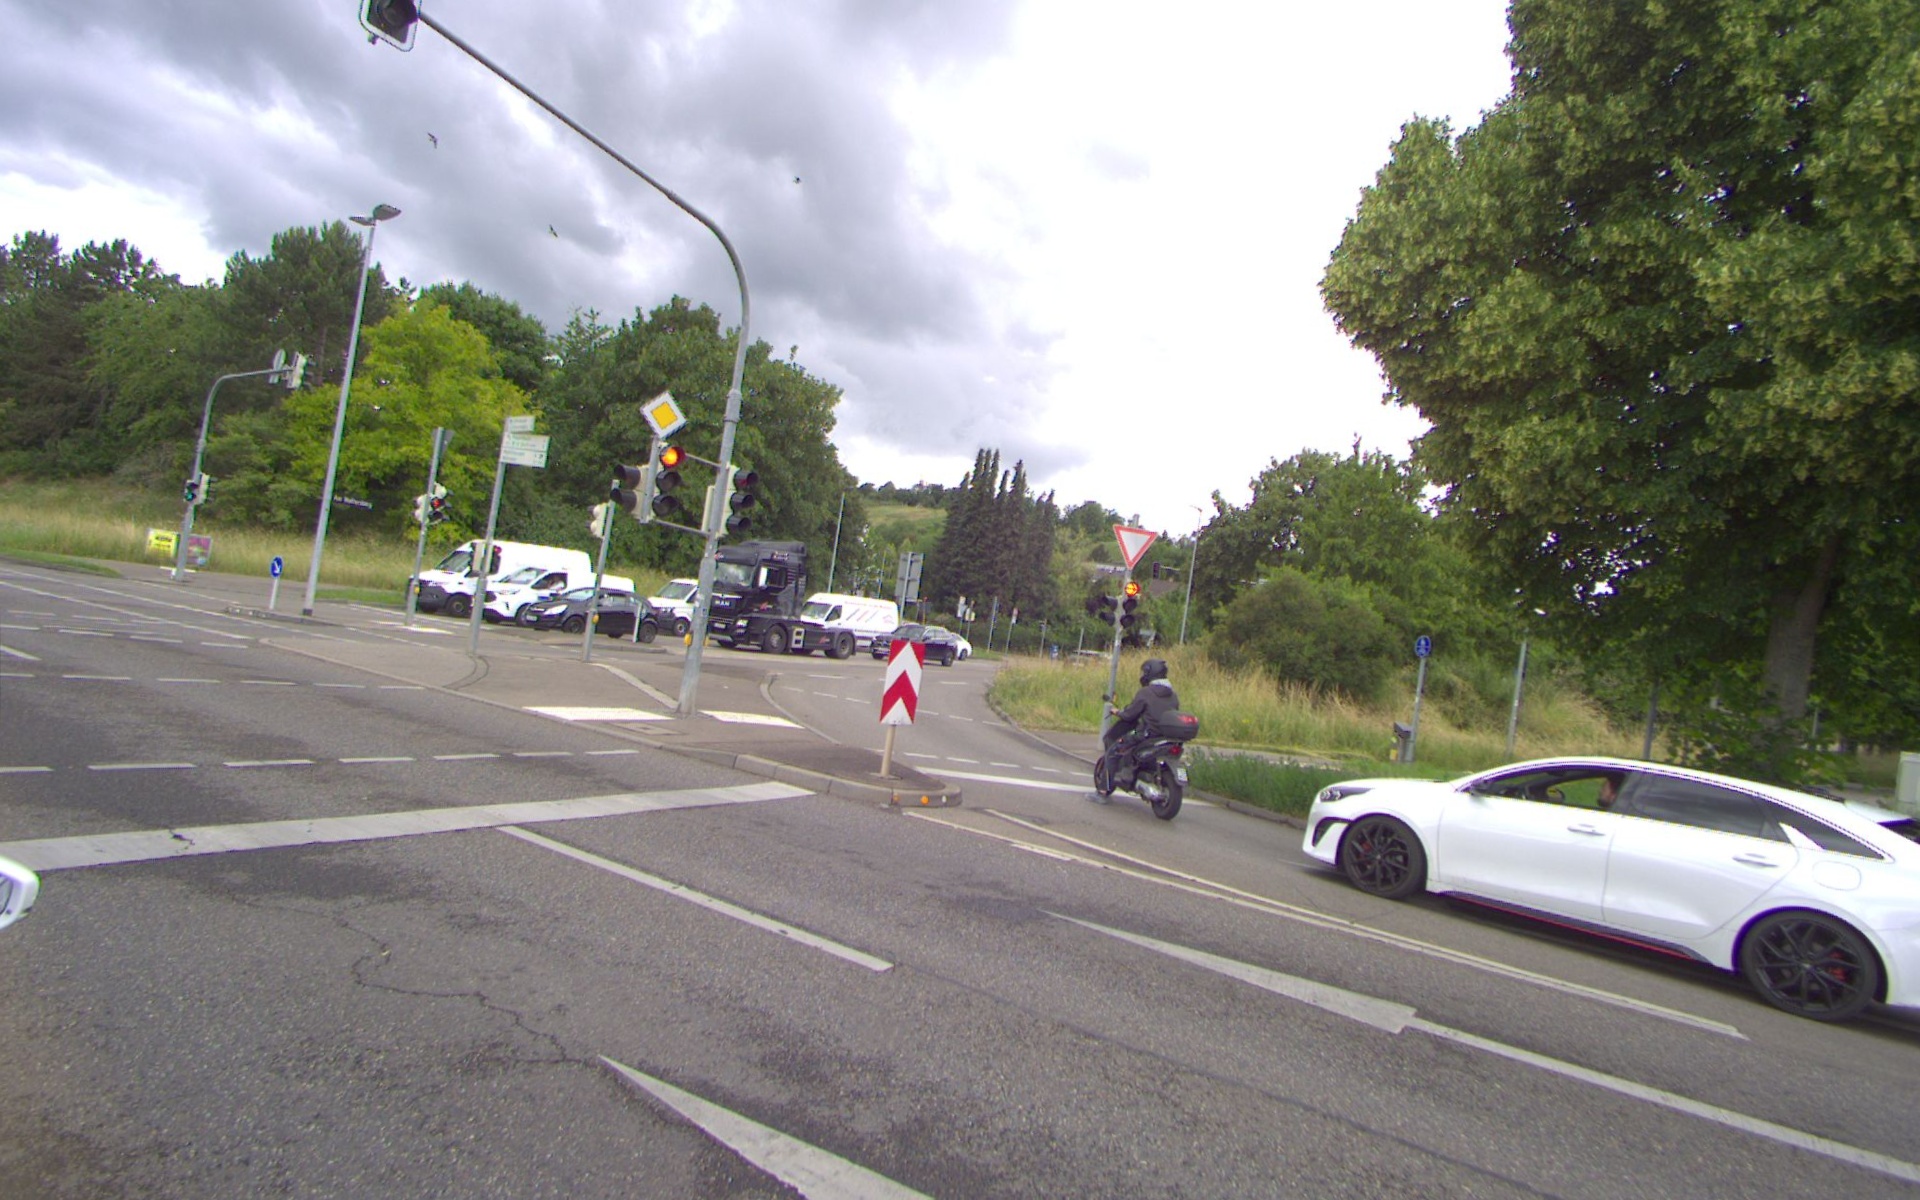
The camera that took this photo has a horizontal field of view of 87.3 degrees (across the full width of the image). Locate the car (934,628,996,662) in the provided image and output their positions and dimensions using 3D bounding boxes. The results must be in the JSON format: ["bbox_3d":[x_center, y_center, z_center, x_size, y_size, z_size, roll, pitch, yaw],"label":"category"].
[{"bbox_3d":[0.307,2.579,57.082,1.625,1.473,3.861,7,-2,32],"label":"car"}]

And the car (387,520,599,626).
[{"bbox_3d":[-15.392,-0.803,33.584,2.192,2.689,5.950,6,-2,33],"label":"car"}]

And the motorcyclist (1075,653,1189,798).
[{"bbox_3d":[1.905,1.378,11.206,0.750,1.437,0.813,9,-1,-23],"label":"motorcyclist"}]

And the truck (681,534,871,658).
[{"bbox_3d":[-6.337,-0.029,35.535,3.025,3.558,5.950,6,-2,33],"label":"truck"}]

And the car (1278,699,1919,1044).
[{"bbox_3d":[4.970,1.833,7.580,1.827,1.435,4.459,12,-5,-43],"label":"car"}]

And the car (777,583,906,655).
[{"bbox_3d":[-5.609,0.990,48.769,2.192,2.751,6.674,6,-2,33],"label":"car"}]

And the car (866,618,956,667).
[{"bbox_3d":[-1.989,1.807,42.091,1.722,1.594,3.861,7,-2,32],"label":"car"}]

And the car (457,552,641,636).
[{"bbox_3d":[-12.859,-0.120,31.856,2.086,2.013,4.981,5,-3,32],"label":"car"}]

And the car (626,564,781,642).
[{"bbox_3d":[-10.328,0.184,41.004,2.193,2.413,5.948,6,-2,35],"label":"car"}]

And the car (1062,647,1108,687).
[{"bbox_3d":[5.507,2.915,44.116,1.718,1.452,3.871,7,-2,8],"label":"car"}]

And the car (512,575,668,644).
[{"bbox_3d":[-10.514,0.316,28.849,1.610,1.458,3.858,7,-2,34],"label":"car"}]

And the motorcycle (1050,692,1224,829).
[{"bbox_3d":[1.890,1.720,11.124,0.750,1.102,2.059,9,-2,-23],"label":"motorcycle"}]
